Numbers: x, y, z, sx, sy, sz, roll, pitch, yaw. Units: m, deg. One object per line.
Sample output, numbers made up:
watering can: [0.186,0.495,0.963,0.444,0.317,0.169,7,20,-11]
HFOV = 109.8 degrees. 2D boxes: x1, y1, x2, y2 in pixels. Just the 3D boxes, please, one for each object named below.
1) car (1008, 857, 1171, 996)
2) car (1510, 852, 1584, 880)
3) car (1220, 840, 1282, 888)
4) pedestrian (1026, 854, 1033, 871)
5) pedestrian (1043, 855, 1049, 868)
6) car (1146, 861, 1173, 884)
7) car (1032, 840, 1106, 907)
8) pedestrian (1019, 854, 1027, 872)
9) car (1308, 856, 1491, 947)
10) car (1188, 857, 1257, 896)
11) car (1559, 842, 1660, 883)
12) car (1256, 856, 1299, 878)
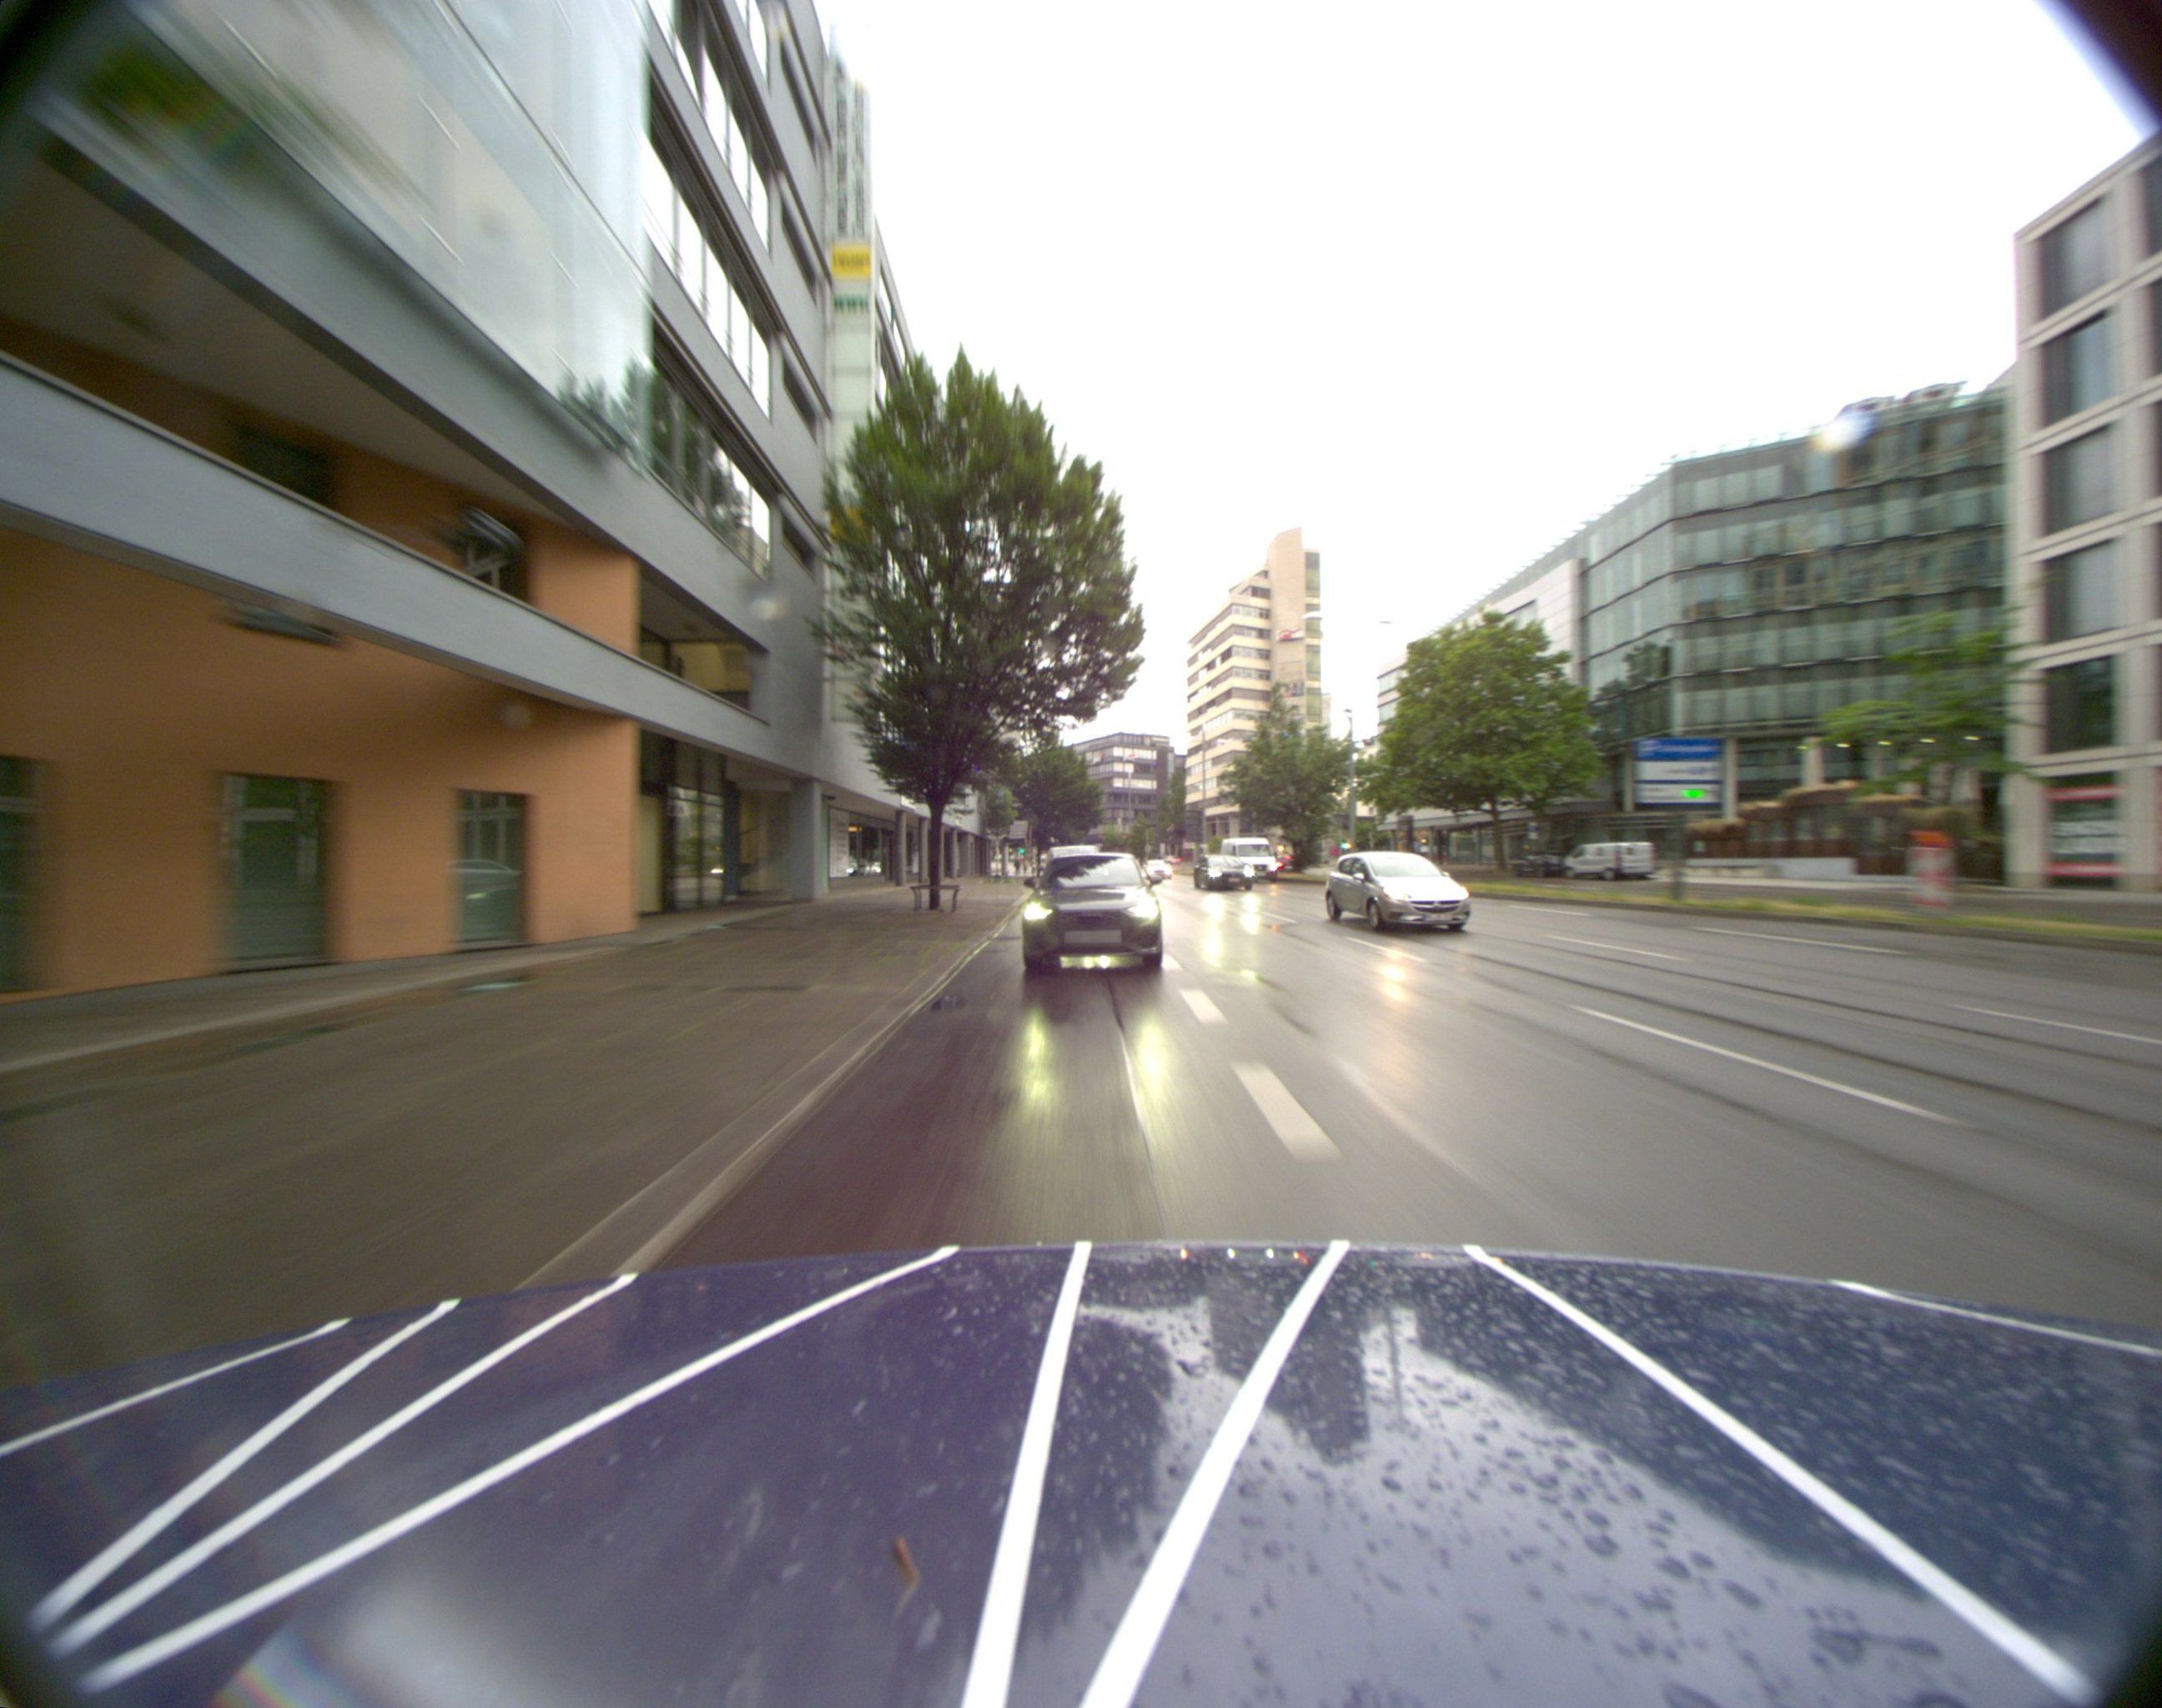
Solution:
car: [0.351,0.881,11.234,1.801,1.543,4.390,-1,1,8]
car: [28.036,0.668,45.909,1.802,1.520,4.285,-2,1,0]
car: [9.087,0.456,41.177,2.259,2.371,5.719,-1,1,2]
pedestrian: [-5.317,0.856,77.994,0.641,1.772,0.880,-2,0,0]
pedestrian: [-4.546,0.958,99.621,0.654,1.589,1.058,-2,1,-6]
car: [5.814,1.330,56.570,1.784,1.499,4.000,-1,1,3]
car: [-0.277,0.520,24.494,2.059,1.881,5.049,-2,1,2]
pedestrian: [-5.846,0.890,76.579,0.794,1.772,0.894,-2,0,-3]
car: [6.191,0.826,15.338,1.774,1.470,4.125,-2,1,-3]
car: [5.805,0.877,31.678,1.905,1.393,4.239,-2,1,-3]
car: [28.086,0.385,40.609,1.999,2.002,4.915,-2,1,0]
car: [15.829,1.026,61.487,1.831,1.623,4.872,-2,1,-5]
